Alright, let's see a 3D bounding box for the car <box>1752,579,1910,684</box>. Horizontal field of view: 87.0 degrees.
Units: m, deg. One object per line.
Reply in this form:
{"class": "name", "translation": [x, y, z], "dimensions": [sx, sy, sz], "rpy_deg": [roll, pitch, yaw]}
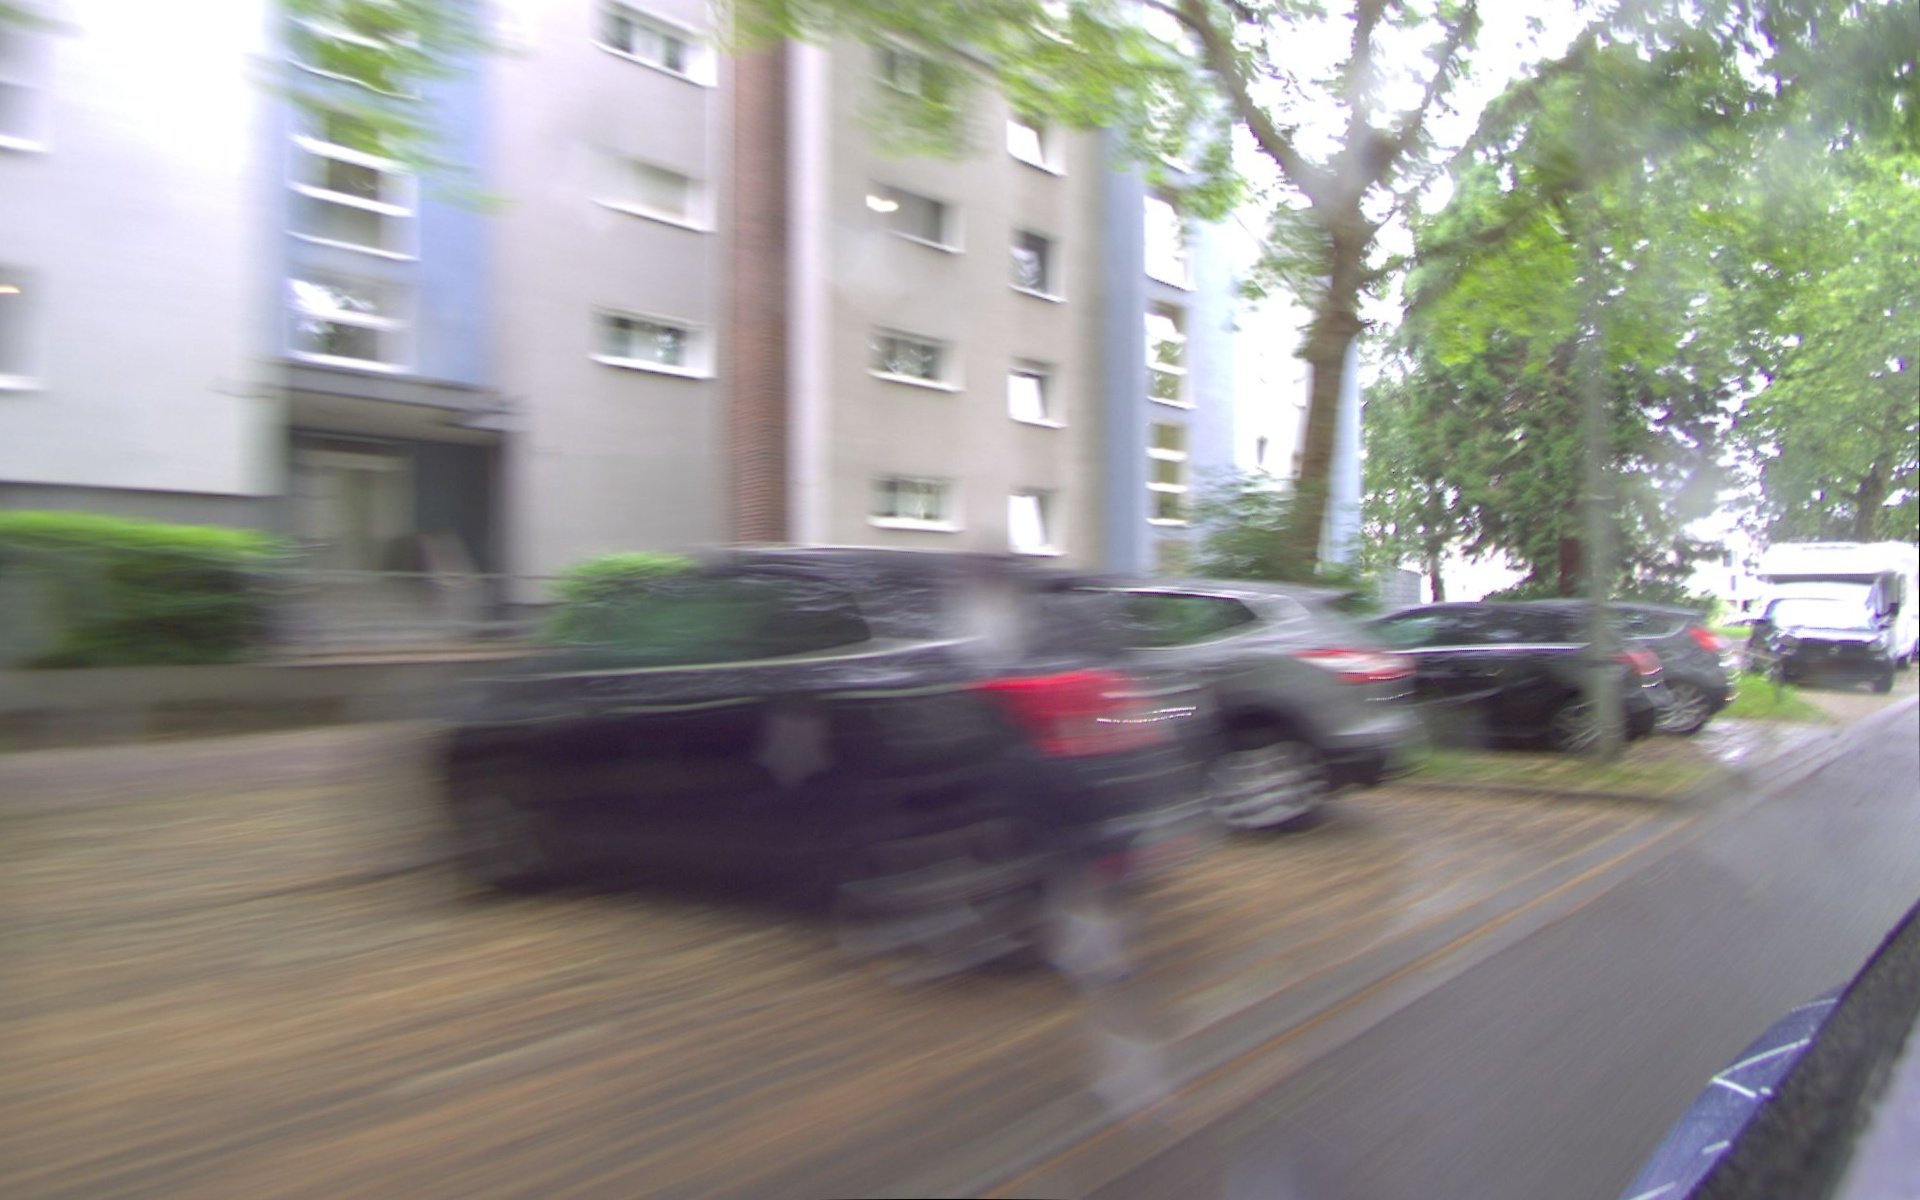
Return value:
{"class": "car", "translation": [15.209, 0.525, 17.834], "dimensions": [1.680, 1.674, 2.911], "rpy_deg": [-1, -1, 33]}

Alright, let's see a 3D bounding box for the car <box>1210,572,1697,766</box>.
{"class": "car", "translation": [4.579, 0.608, 9.986], "dimensions": [3.949, 1.622, 1.791], "rpy_deg": [-1, -1, 20]}

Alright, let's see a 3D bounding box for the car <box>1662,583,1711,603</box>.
{"class": "car", "translation": [70.574, -0.677, 98.423], "dimensions": [1.964, 1.884, 3.996], "rpy_deg": [0, -1, 3]}

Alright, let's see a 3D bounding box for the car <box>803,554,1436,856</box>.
{"class": "car", "translation": [1.106, 0.596, 7.165], "dimensions": [3.954, 1.622, 2.019], "rpy_deg": [-1, -1, 23]}

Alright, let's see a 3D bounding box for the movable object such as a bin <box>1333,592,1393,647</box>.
{"class": "movable object such as a bin", "translation": [10.921, 0.526, 27.415], "dimensions": [1.207, 1.451, 1.841], "rpy_deg": [-1, -1, 32]}

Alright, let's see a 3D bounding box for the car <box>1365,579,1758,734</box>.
{"class": "car", "translation": [6.914, 0.624, 12.134], "dimensions": [3.721, 1.622, 1.791], "rpy_deg": [-1, -1, 20]}

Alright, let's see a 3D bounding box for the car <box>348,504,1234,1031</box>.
{"class": "car", "translation": [-0.763, 0.492, 4.906], "dimensions": [3.823, 1.719, 1.824], "rpy_deg": [2, 0, 22]}

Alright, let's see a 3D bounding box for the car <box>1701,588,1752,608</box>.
{"class": "car", "translation": [74.354, -0.183, 98.232], "dimensions": [1.964, 1.884, 3.996], "rpy_deg": [0, -1, 3]}

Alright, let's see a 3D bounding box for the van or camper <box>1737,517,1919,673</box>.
{"class": "van or camper", "translation": [18.926, -0.078, 21.491], "dimensions": [6.740, 2.843, 2.324], "rpy_deg": [0, -1, -39]}

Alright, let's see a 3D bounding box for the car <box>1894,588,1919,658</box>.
{"class": "car", "translation": [25.063, 0.527, 25.433], "dimensions": [4.378, 1.641, 1.918], "rpy_deg": [-1, 0, -42]}
